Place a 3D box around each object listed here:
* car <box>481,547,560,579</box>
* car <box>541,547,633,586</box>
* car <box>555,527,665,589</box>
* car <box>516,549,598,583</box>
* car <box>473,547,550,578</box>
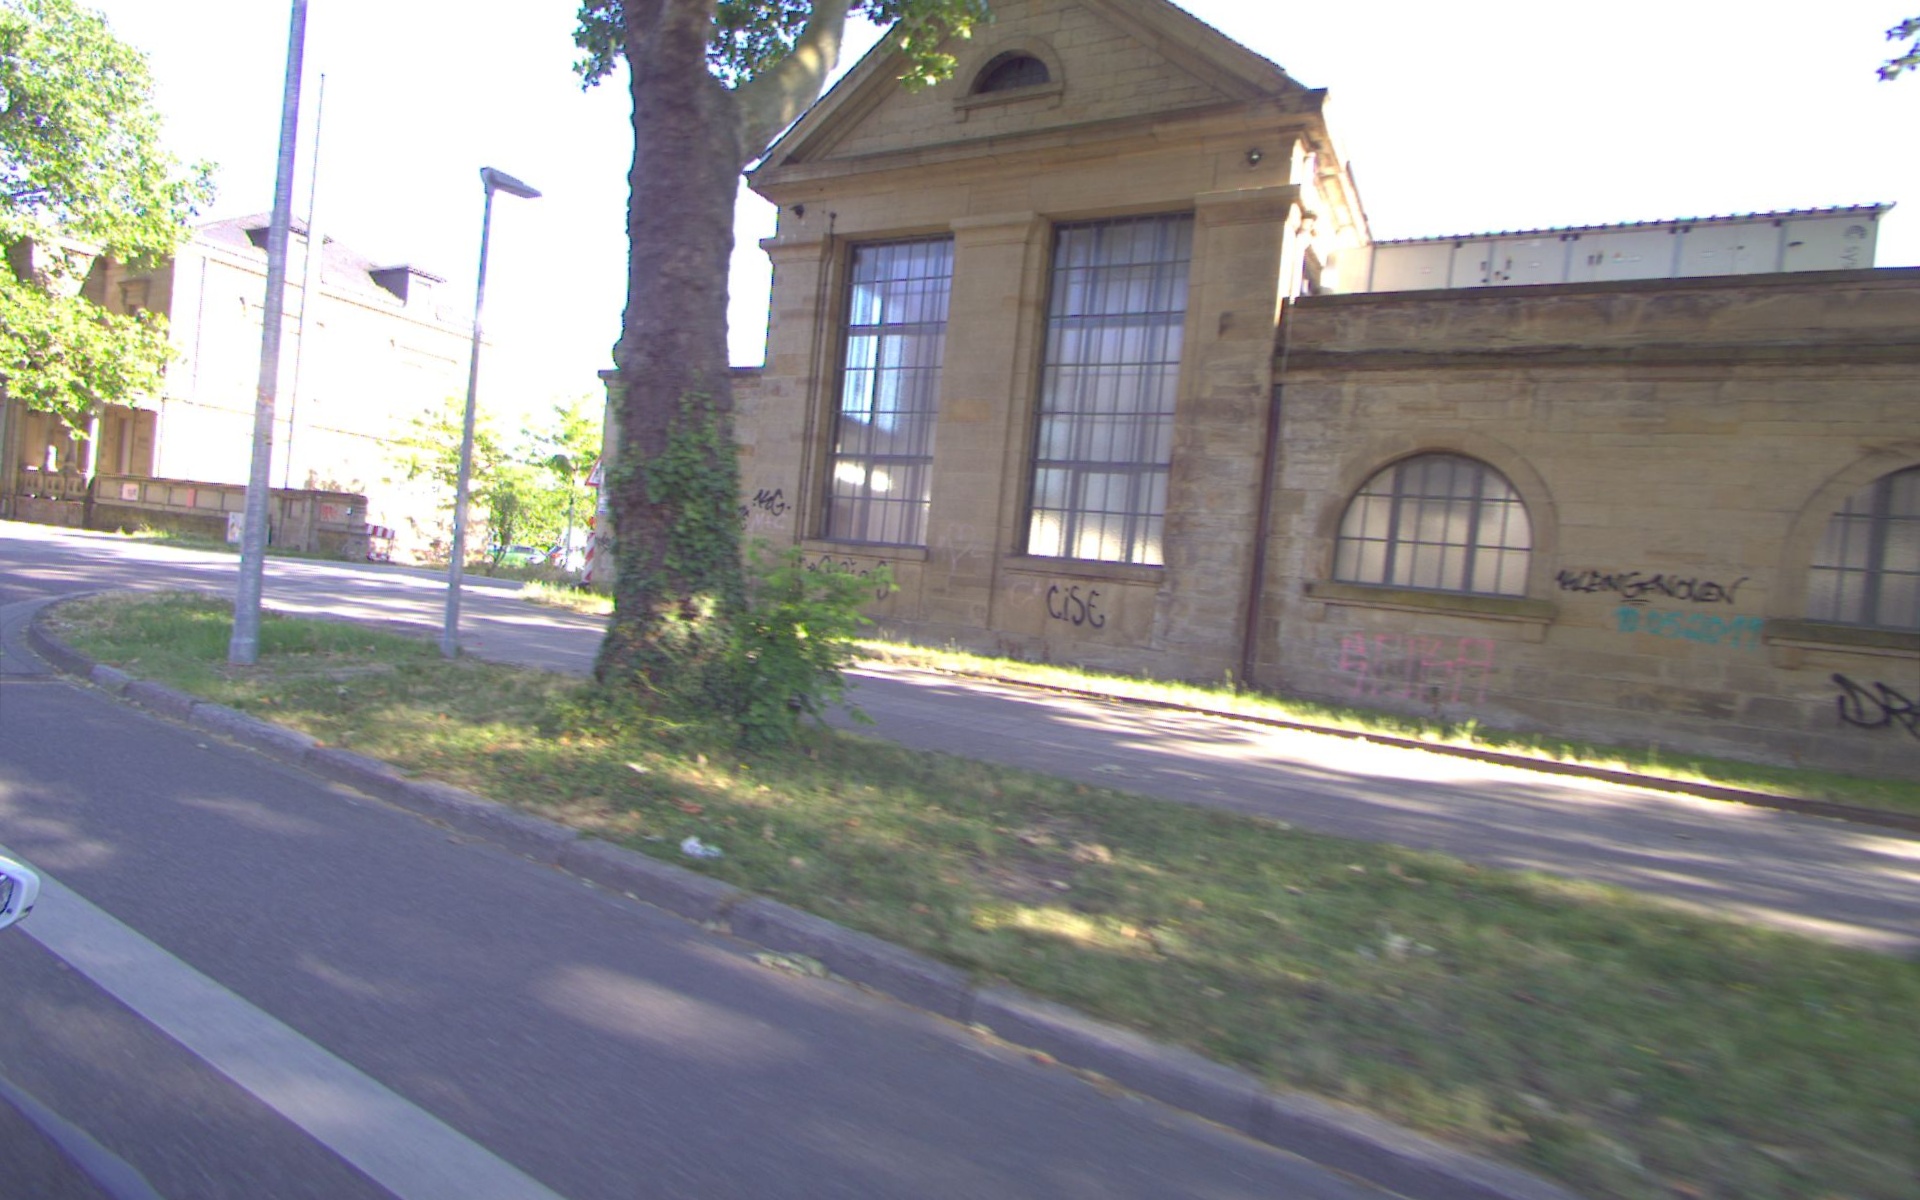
[{"bbox_3d":[-27.332,-2.298,62.653,4.094,1.529,1.781,6,-1,-39],"label":"car"},{"bbox_3d":[-19.400,-1.732,52.428,4.094,1.529,1.781,6,-1,-39],"label":"car"},{"bbox_3d":[-19.438,-2.298,55.960,5.316,2.841,1.781,6,0,-39],"label":"car"},{"bbox_3d":[-24.015,-2.011,59.994,4.094,1.529,1.781,6,-1,-39],"label":"car"},{"bbox_3d":[-28.763,-2.398,64.582,4.094,1.529,1.781,6,-1,-39],"label":"car"}]
